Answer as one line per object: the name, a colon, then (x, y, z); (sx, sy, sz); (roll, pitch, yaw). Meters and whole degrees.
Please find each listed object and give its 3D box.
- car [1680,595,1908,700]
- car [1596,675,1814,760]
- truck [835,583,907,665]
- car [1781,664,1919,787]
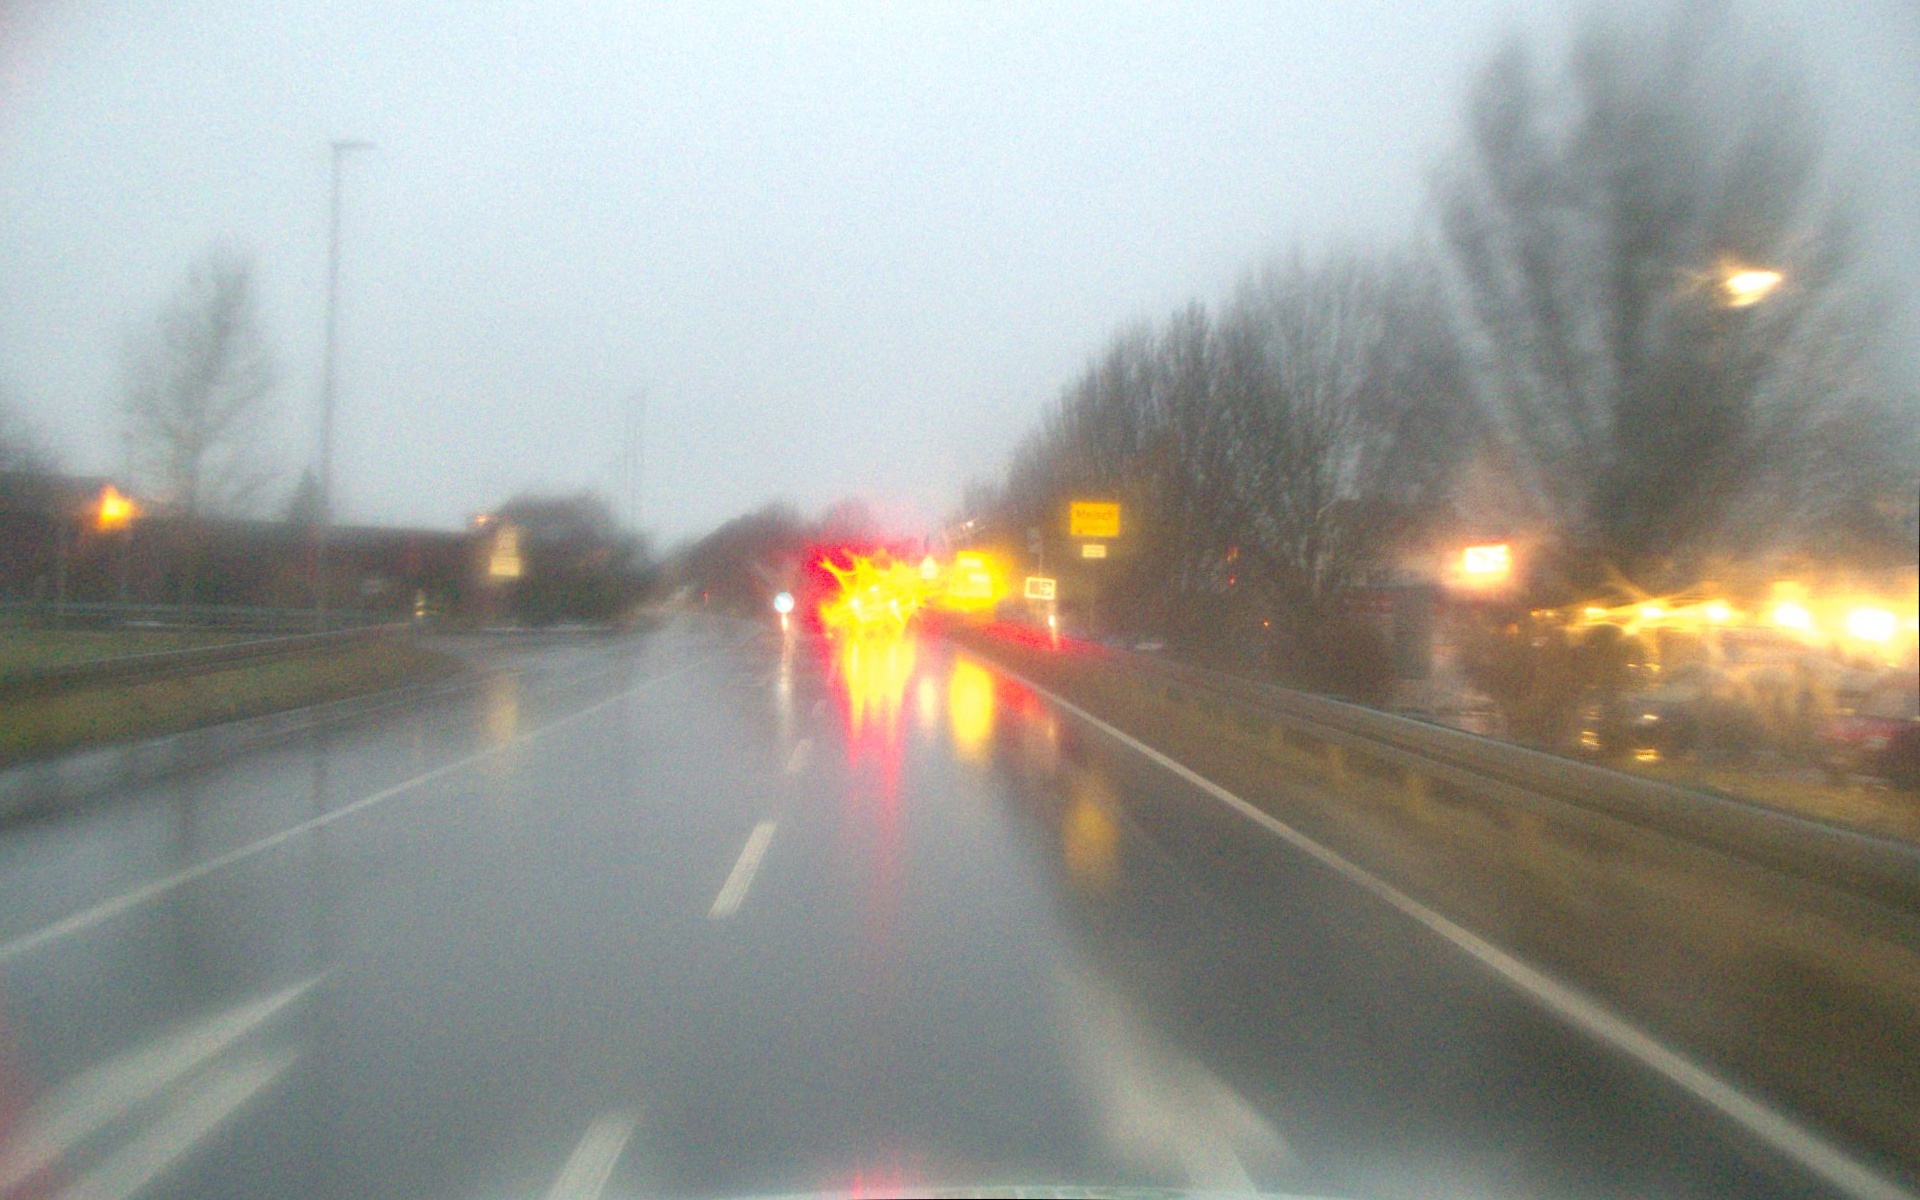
car: (23.858, 1.368, 47.462); (5.527, 2.825, 2.089); (-1, -4, 40)
car: (14.114, 2.222, 31.390); (3.473, 1.448, 1.658); (2, -2, -12)
truck: (-3.508, 0.872, 63.873); (2.482, 2.919, 5.916); (2, 0, -5)
car: (15.284, 1.926, 26.034); (4.065, 1.755, 2.010); (1, -1, -20)
